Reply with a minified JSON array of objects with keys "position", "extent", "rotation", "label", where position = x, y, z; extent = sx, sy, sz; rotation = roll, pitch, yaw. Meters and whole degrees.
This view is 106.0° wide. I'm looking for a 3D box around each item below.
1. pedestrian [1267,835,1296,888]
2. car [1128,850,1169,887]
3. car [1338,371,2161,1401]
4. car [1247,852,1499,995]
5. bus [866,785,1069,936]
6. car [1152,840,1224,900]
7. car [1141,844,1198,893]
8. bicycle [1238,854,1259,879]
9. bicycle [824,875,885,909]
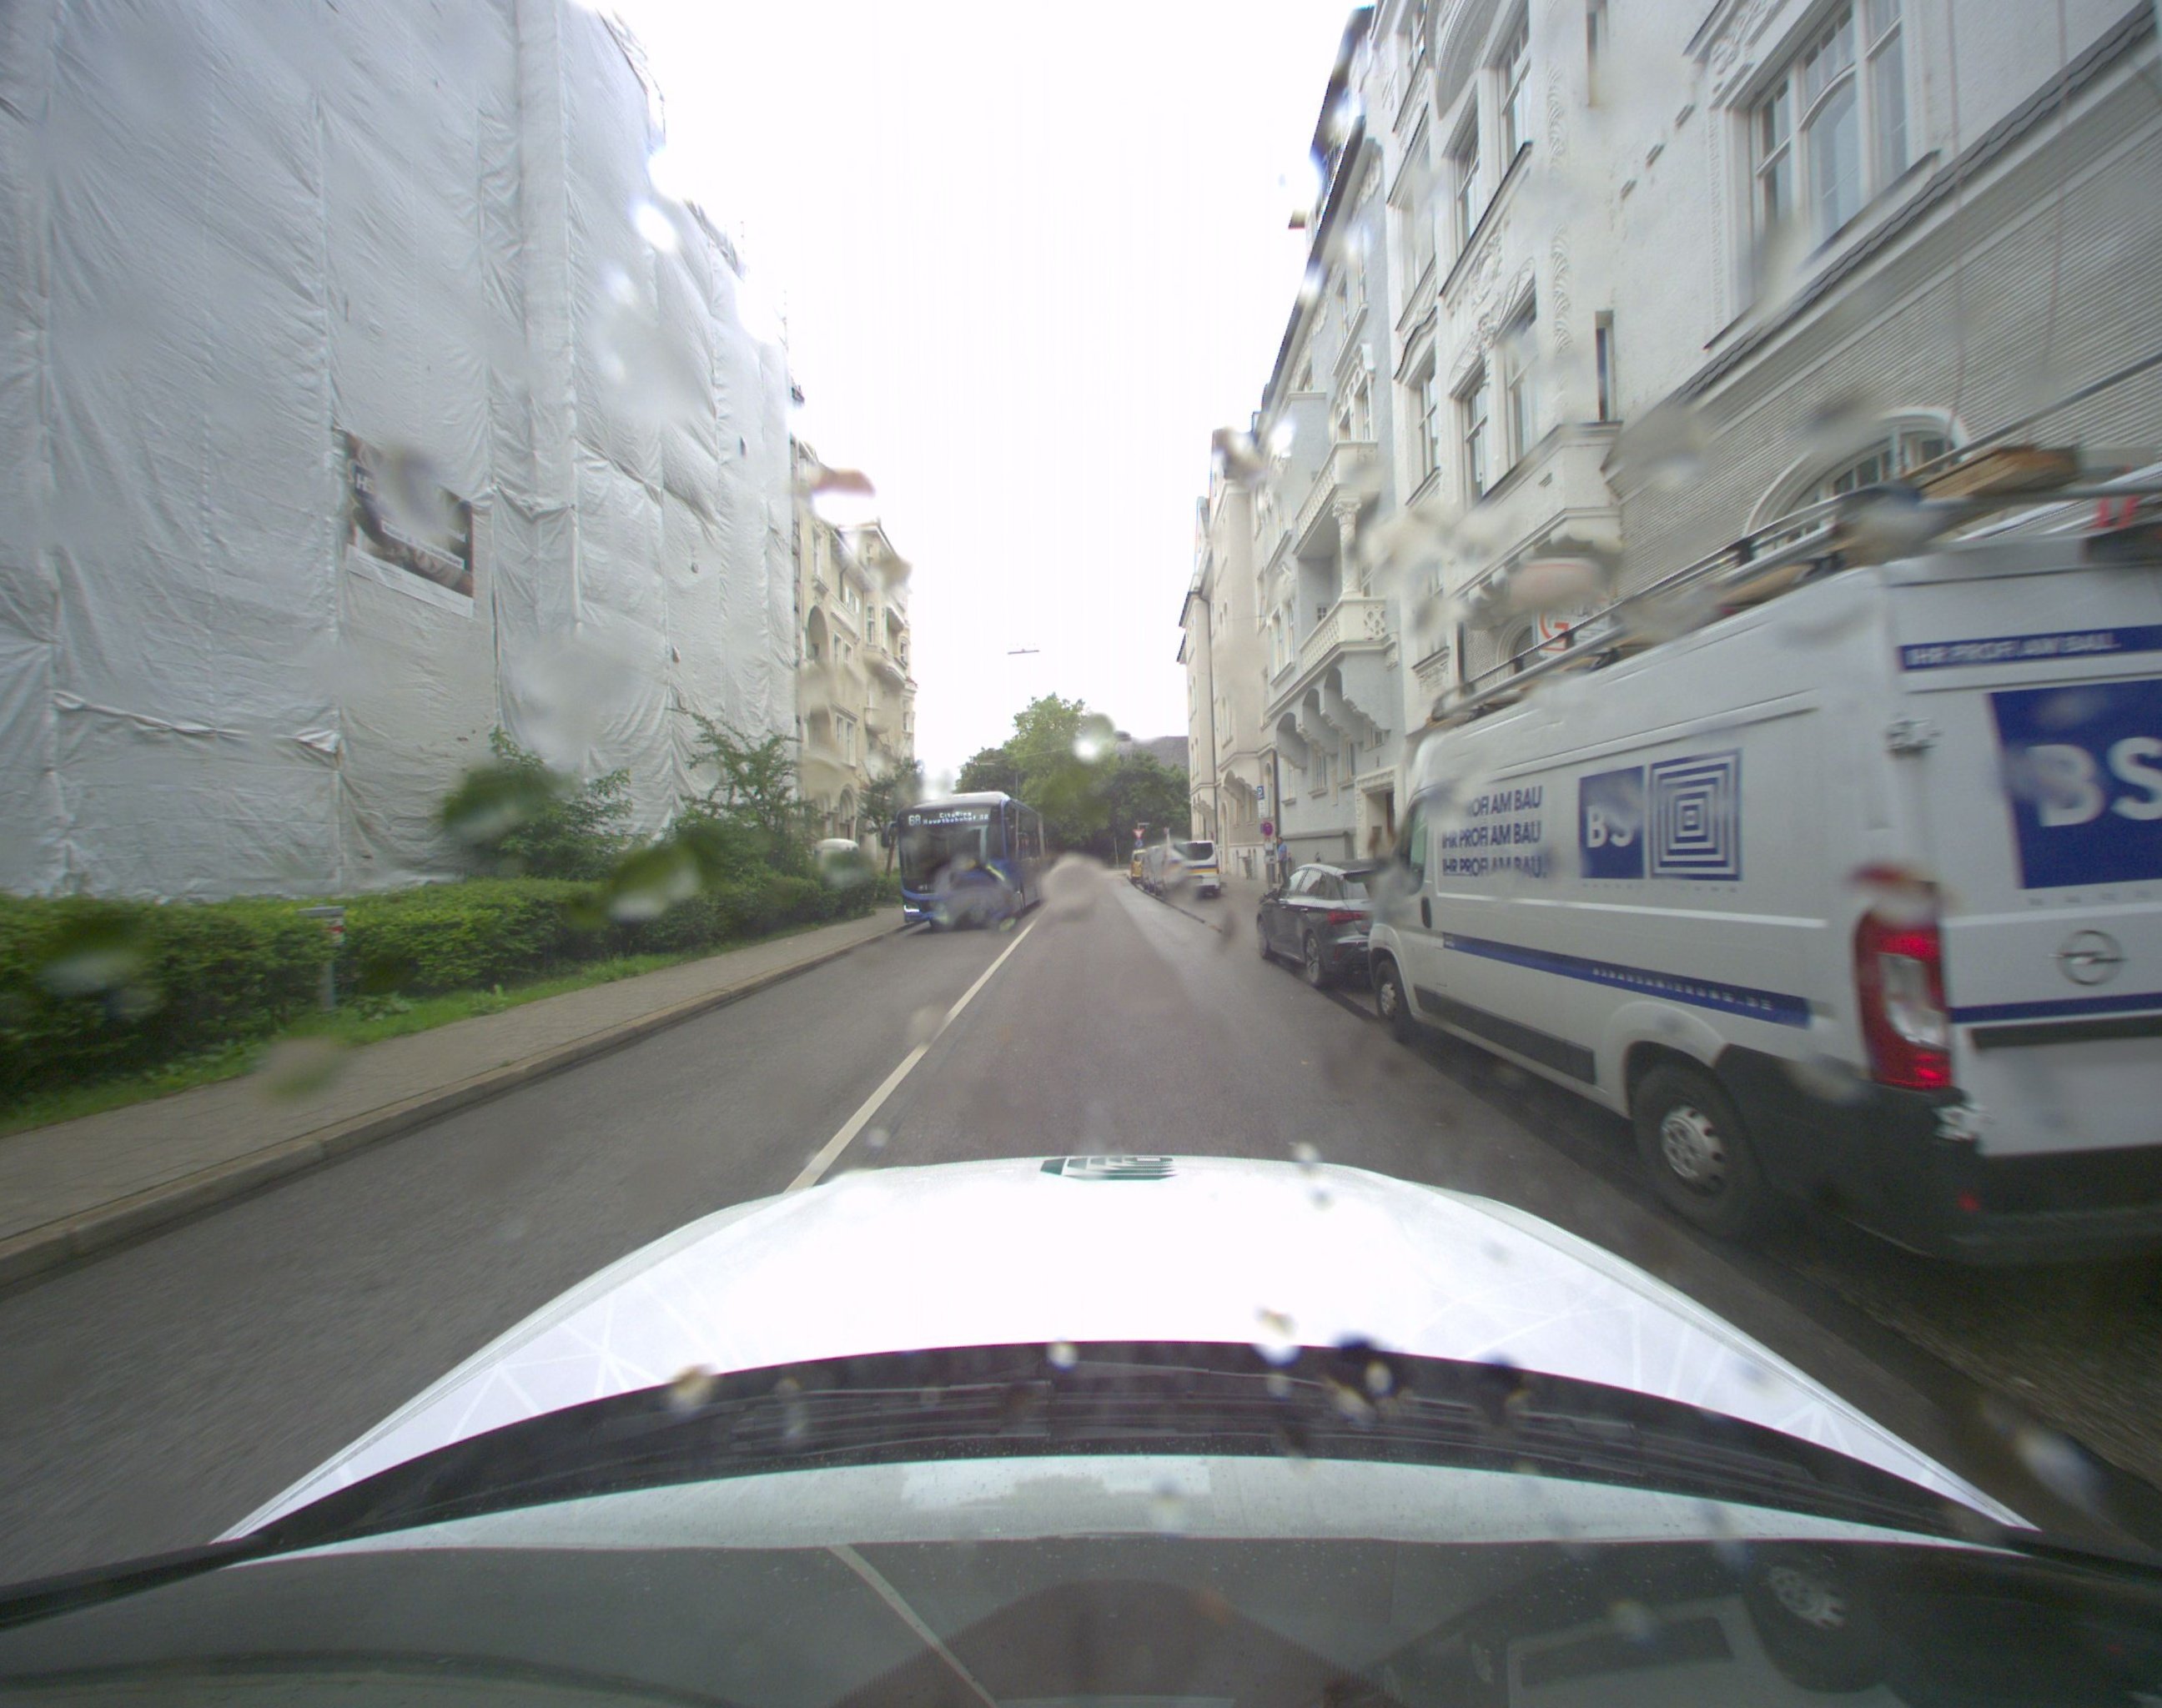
[{"position":[7.416,0.270,30.177],"extent":[0.848,1.903,0.747],"rotation":[-2,-1,4],"label":"pedestrian"},{"position":[3.857,0.810,46.962],"extent":[1.986,1.918,4.572],"rotation":[-2,0,1],"label":"car"},{"position":[3.414,0.047,4.865],"extent":[2.069,2.688,5.447],"rotation":[-4,0,2],"label":"car"},{"position":[3.475,0.735,10.607],"extent":[1.781,1.407,4.245],"rotation":[-2,0,1],"label":"car"},{"position":[-2.712,0.187,27.429],"extent":[3.158,3.212,18.071],"rotation":[-4,0,3],"label":"bus"},{"position":[3.804,0.556,29.708],"extent":[1.986,1.918,4.879],"rotation":[-2,0,1],"label":"car"},{"position":[3.808,0.599,35.667],"extent":[1.986,1.918,4.887],"rotation":[-2,0,1],"label":"car"},{"position":[8.066,0.586,39.232],"extent":[0.663,1.133,1.723],"rotation":[-2,-1,2],"label":"bicycle"},{"position":[-7.743,1.293,27.852],"extent":[1.852,1.077,0.691],"rotation":[2,0,2],"label":"bicycle"}]
